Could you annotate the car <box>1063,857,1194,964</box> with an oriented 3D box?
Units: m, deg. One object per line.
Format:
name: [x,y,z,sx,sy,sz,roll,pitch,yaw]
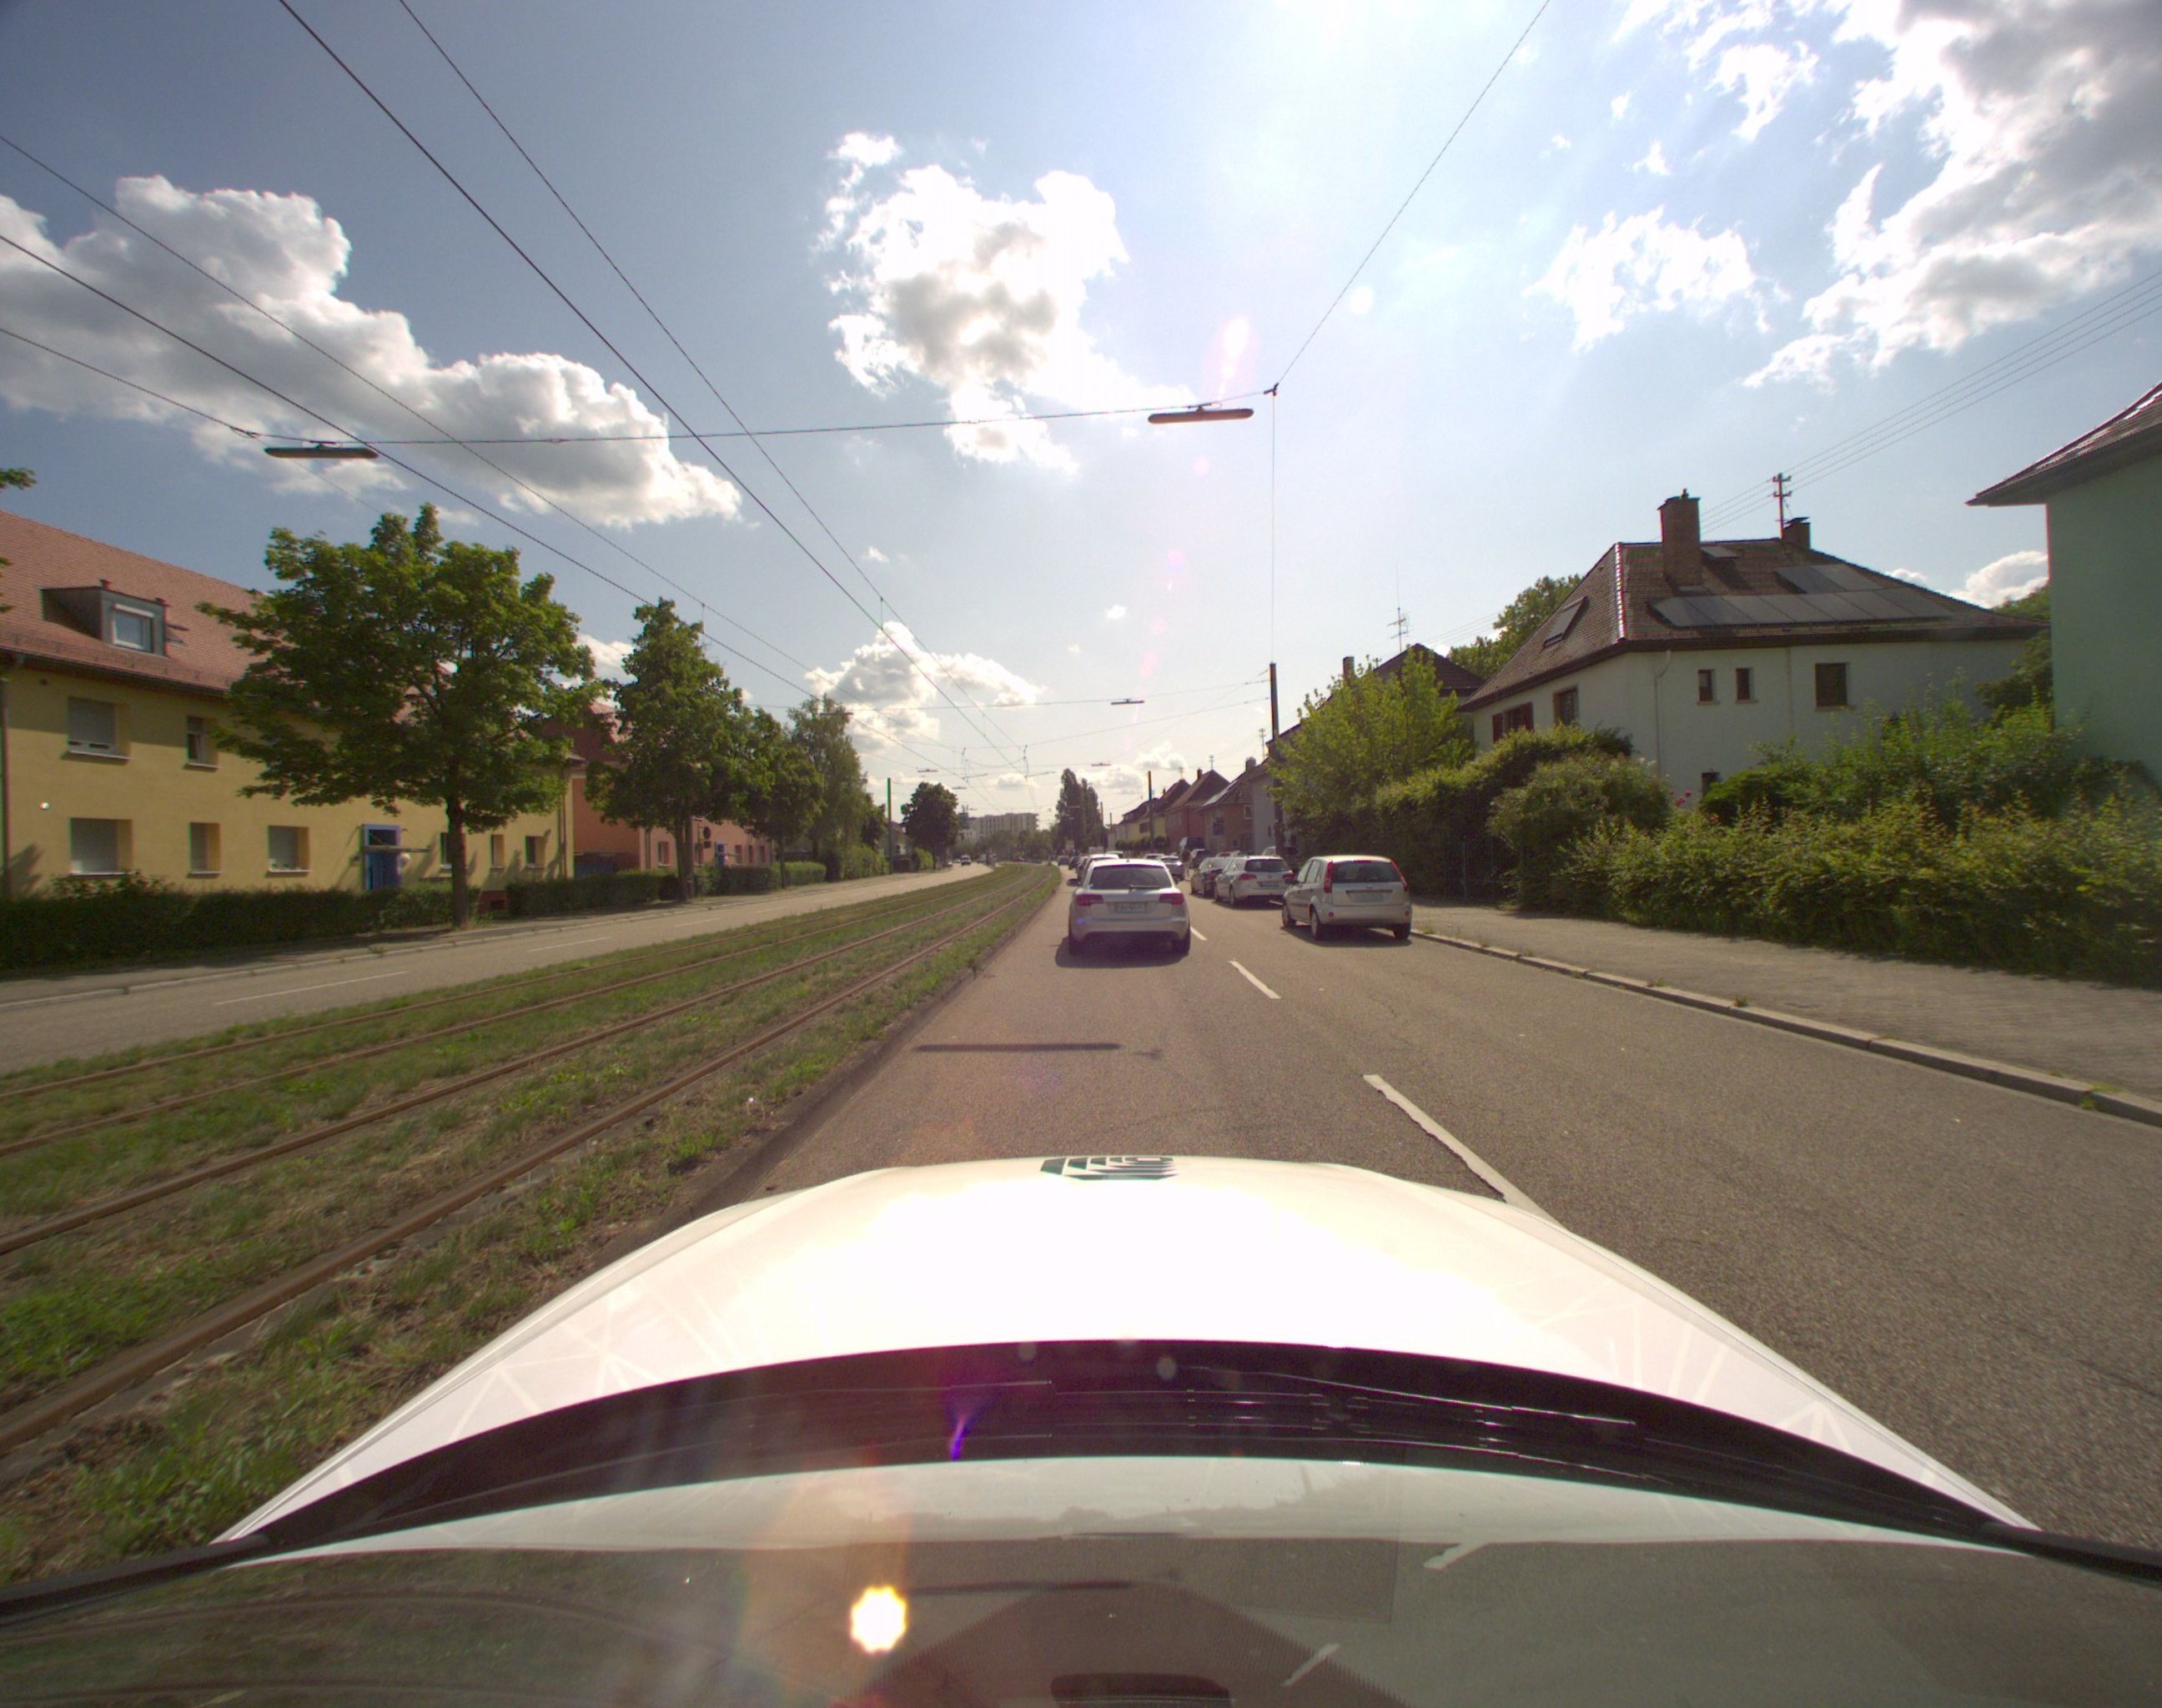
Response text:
car: [0.704,0.818,13.900,1.848,1.492,4.536,-1,0,0]

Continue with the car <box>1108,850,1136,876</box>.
car: [2.961,0.625,59.343,1.878,1.731,4.096,-2,0,2]

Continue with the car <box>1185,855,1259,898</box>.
car: [5.158,0.787,30.399,1.894,1.443,5.057,0,0,0]

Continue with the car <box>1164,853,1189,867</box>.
car: [10.007,0.637,85.612,1.647,1.409,4.341,-2,-1,-6]

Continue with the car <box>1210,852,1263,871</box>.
car: [11.884,0.581,62.290,3.642,1.380,1.724,-1,-1,-4]

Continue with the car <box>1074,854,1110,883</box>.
car: [0.582,0.770,45.408,1.879,1.466,4.093,-2,0,0]

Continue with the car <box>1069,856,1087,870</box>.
car: [-0.335,0.984,88.304,1.879,1.530,4.092,0,-1,-1]

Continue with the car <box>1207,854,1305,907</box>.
car: [5.204,0.763,24.963,1.884,1.455,5.004,0,-1,-1]

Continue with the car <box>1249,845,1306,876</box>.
car: [11.141,0.385,46.512,1.753,1.647,4.762,-3,-1,-4]

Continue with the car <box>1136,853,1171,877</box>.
car: [4.899,0.768,55.876,1.803,1.559,4.248,0,-1,-3]

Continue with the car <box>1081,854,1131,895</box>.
car: [0.939,0.790,32.969,1.782,1.577,4.092,1,0,-1]

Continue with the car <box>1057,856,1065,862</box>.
car: [-5.014,1.294,201.768,1.879,1.530,4.092,0,-1,-1]

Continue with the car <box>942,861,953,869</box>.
car: [-27.652,2.189,168.924,1.784,1.584,3.923,-1,0,-5]

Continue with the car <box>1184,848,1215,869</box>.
car: [10.512,0.419,72.489,1.832,1.711,4.859,-3,0,-3]

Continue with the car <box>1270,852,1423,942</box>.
car: [4.899,0.741,15.626,1.730,1.489,4.096,0,-1,2]

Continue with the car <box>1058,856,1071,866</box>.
car: [-2.476,1.044,121.213,1.879,1.530,4.092,0,-1,-1]

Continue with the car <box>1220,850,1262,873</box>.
car: [11.026,0.500,56.471,1.794,1.423,4.854,-2,0,-2]

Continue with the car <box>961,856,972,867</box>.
car: [-26.386,1.649,187.170,2.193,2.372,5.321,-3,-1,-6]

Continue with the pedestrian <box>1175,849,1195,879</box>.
pedestrian: [6.836,0.662,53.756,1.109,1.946,1.091,-2,-1,-1]

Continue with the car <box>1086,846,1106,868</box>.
car: [1.833,0.403,100.100,2.036,2.557,5.226,-1,0,-2]

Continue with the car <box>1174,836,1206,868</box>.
car: [10.496,-0.125,78.744,2.146,2.930,6.240,0,-1,-2]

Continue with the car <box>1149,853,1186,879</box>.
car: [5.141,0.720,48.839,1.808,1.454,4.644,0,-1,1]
